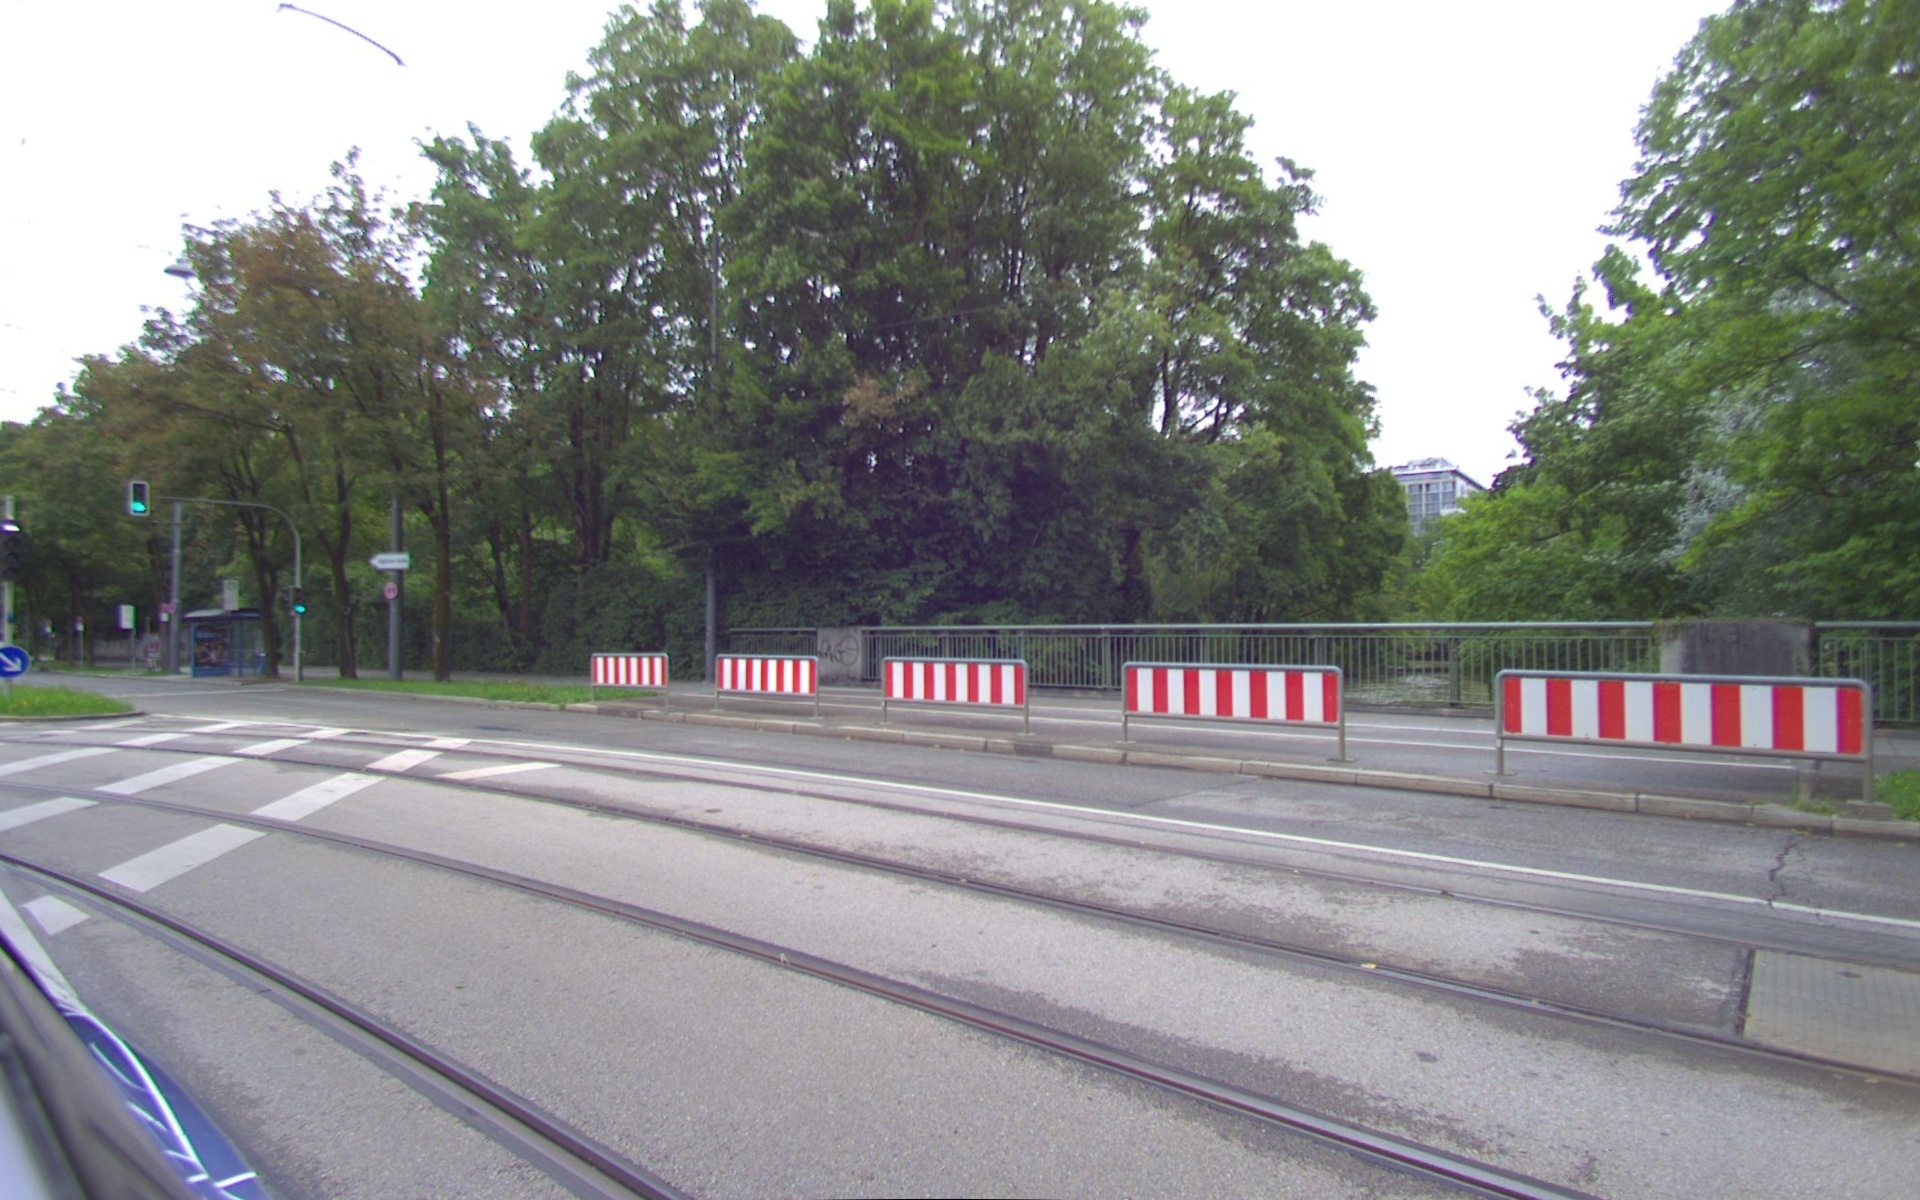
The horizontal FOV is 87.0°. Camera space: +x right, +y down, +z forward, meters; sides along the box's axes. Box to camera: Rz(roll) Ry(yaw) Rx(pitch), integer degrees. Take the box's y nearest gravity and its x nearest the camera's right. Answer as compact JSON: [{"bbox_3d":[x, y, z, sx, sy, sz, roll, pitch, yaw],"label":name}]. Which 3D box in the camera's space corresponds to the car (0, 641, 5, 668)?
[{"bbox_3d":[-64.726,3.646,66.846,3.996,1.739,1.864,-1,0,40],"label":"car"}]

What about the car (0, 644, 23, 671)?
[{"bbox_3d":[-60.428,3.590,63.535,3.996,1.552,1.864,-1,0,40],"label":"car"}]
